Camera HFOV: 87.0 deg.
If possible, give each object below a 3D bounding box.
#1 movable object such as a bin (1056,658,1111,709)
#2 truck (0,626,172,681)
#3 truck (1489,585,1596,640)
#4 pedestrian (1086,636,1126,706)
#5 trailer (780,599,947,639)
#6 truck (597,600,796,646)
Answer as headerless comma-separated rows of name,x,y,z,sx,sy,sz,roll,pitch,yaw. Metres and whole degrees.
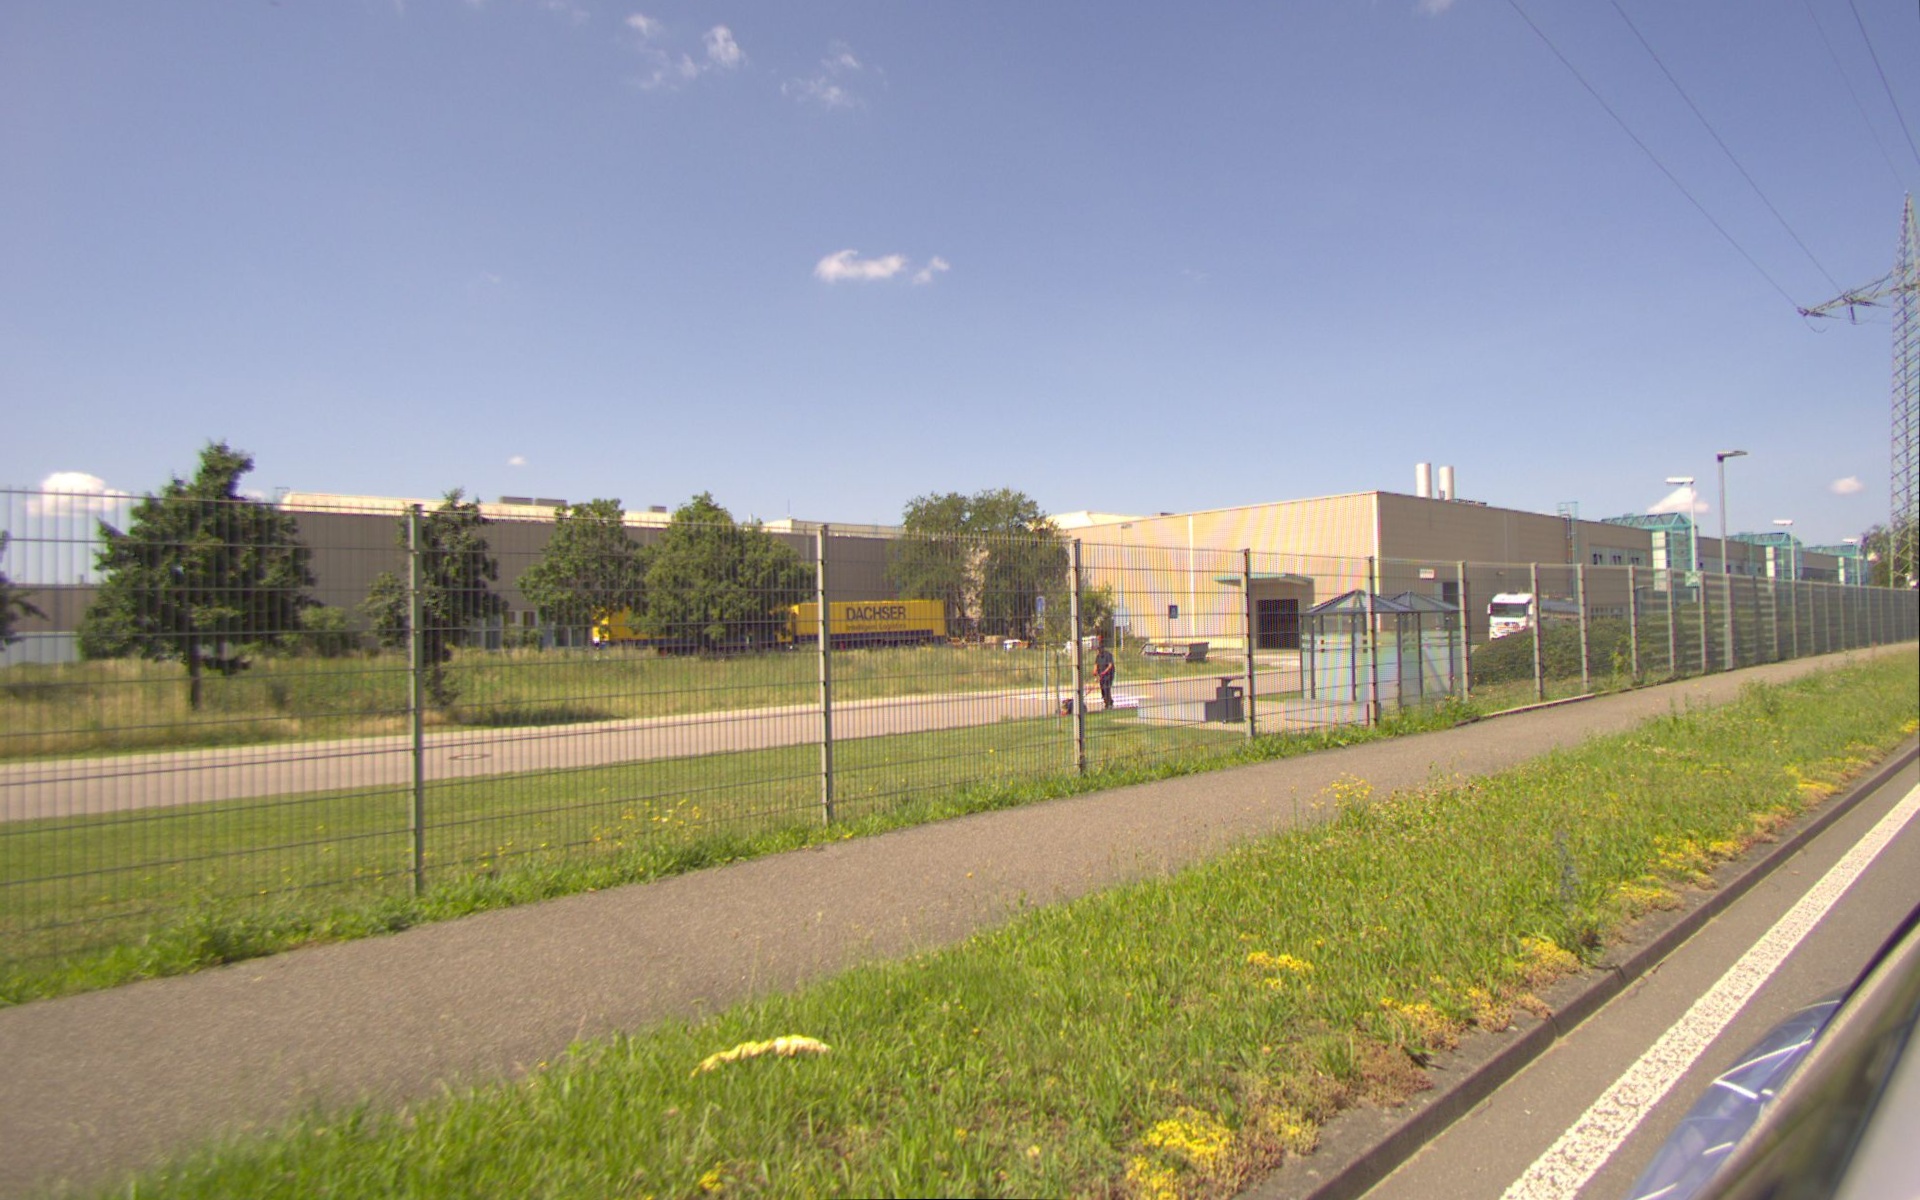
movable object such as a bin,3.125,2.098,25.604,1.540,1.201,0.420,0,-3,-41
truck,-53.843,3.159,59.653,11.642,3.000,1.996,0,-3,-40
truck,42.915,0.816,74.352,11.466,3.789,2.862,-1,0,-39
pedestrian,3.760,1.824,26.118,0.778,1.752,0.592,0,-3,-40
trailer,-7.072,1.332,77.368,13.842,2.747,1.998,-1,0,-39
truck,-17.558,1.466,68.750,13.494,2.747,1.997,-1,0,-40
